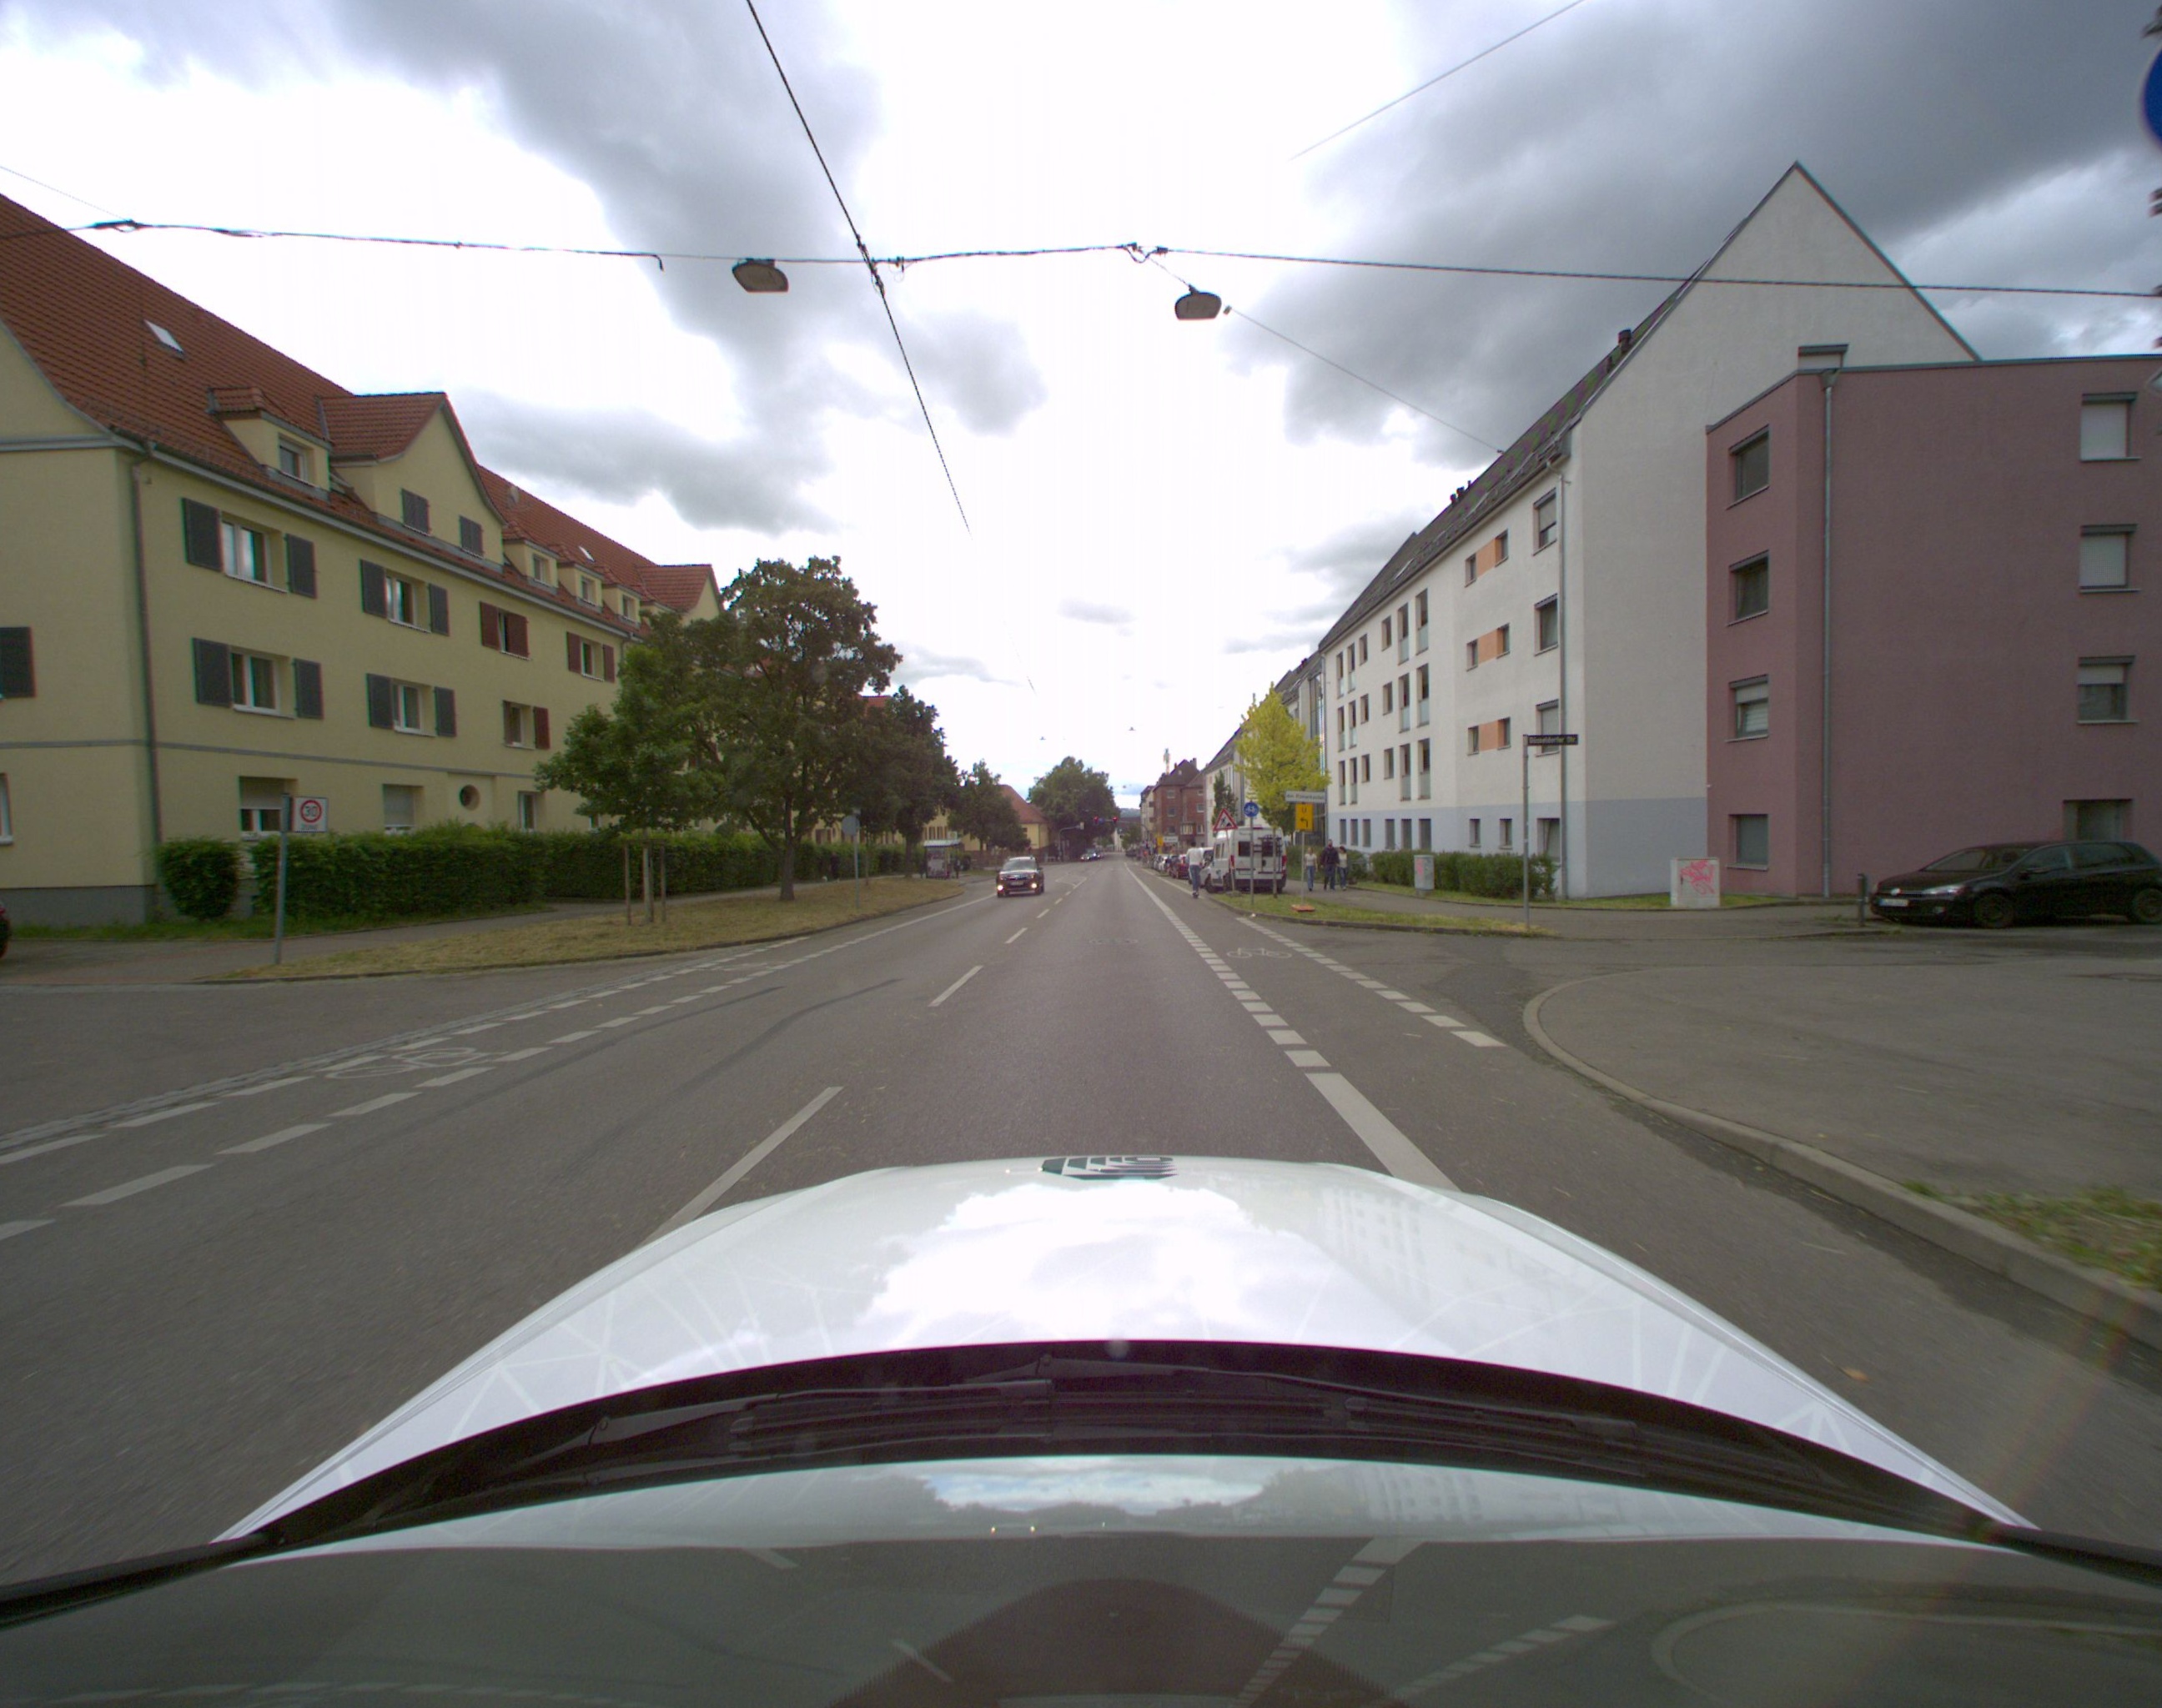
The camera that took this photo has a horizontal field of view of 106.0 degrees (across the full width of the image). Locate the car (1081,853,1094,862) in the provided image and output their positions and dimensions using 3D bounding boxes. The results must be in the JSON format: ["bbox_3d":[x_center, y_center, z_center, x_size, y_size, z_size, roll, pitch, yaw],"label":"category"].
[{"bbox_3d":[1.110,0.642,139.486,1.747,1.472,4.313,-2,0,5],"label":"car"}]

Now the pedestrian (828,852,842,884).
[{"bbox_3d":[-13.926,0.776,46.088,0.511,1.779,0.753,-1,0,2],"label":"pedestrian"}]

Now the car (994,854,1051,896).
[{"bbox_3d":[-2.424,0.847,34.800,1.891,1.620,4.365,-1,0,3],"label":"car"}]

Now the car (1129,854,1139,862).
[{"bbox_3d":[12.871,0.871,197.982,1.987,1.935,4.917,-1,0,0],"label":"car"}]

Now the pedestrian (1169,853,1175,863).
[{"bbox_3d":[14.623,0.613,130.932,0.785,1.656,0.773,-3,0,2],"label":"pedestrian"}]

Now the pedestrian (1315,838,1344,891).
[{"bbox_3d":[8.954,0.378,29.393,0.670,1.887,0.763,-2,-2,-10],"label":"pedestrian"}]

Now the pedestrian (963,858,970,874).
[{"bbox_3d":[-12.353,1.285,87.791,0.638,1.619,0.618,-1,0,1],"label":"pedestrian"}]

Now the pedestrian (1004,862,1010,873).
[{"bbox_3d":[-9.993,1.829,110.259,0.560,1.566,0.844,-1,0,7],"label":"pedestrian"}]

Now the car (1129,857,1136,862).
[{"bbox_3d":[13.927,1.492,221.445,1.663,1.547,3.755,-1,0,0],"label":"car"}]

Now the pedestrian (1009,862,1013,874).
[{"bbox_3d":[-9.989,1.986,116.251,0.561,1.777,0.842,-1,0,2],"label":"pedestrian"}]

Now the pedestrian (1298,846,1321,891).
[{"bbox_3d":[8.477,0.550,30.227,0.577,1.644,0.559,-2,-2,-12],"label":"pedestrian"}]

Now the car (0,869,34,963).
[{"bbox_3d":[-19.872,1.101,13.062,3.890,1.529,1.692,-1,3,1],"label":"car"}]

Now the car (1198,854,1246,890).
[{"bbox_3d":[6.184,0.760,36.043,1.520,1.486,3.726,0,0,1],"label":"car"}]

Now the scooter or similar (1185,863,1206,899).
[{"bbox_3d":[4.030,0.933,28.715,0.489,1.163,2.075,-1,0,2],"label":"scooter or similar"}]

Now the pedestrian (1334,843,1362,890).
[{"bbox_3d":[9.693,0.454,29.549,0.656,1.605,0.574,-5,0,-7],"label":"pedestrian"}]

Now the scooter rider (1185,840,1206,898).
[{"bbox_3d":[4.044,0.513,28.761,0.623,2.013,0.758,-1,0,1],"label":"scooter rider"}]

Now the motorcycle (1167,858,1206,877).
[{"bbox_3d":[7.225,0.921,55.867,2.591,1.279,0.752,-1,0,-2],"label":"motorcycle"}]

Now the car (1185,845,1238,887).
[{"bbox_3d":[6.542,0.585,41.279,1.986,1.944,5.213,-1,0,2],"label":"car"}]

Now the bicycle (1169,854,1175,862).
[{"bbox_3d":[14.688,0.639,131.796,0.757,1.193,2.393,-1,0,2],"label":"bicycle"}]

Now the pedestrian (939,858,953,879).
[{"bbox_3d":[-9.960,1.080,60.144,0.896,1.509,0.807,0,0,3],"label":"pedestrian"}]

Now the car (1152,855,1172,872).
[{"bbox_3d":[8.404,0.984,84.593,1.653,1.716,4.552,0,0,1],"label":"car"}]

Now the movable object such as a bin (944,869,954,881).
[{"bbox_3d":[-9.715,1.524,59.887,0.534,0.845,0.665,0,0,3],"label":"movable object such as a bin"}]

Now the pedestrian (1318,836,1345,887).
[{"bbox_3d":[9.445,0.279,30.756,0.671,1.887,0.617,-2,-2,-15],"label":"pedestrian"}]

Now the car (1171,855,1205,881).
[{"bbox_3d":[6.864,0.872,52.715,1.675,1.544,4.340,-1,0,1],"label":"car"}]

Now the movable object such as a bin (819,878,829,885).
[{"bbox_3d":[-14.637,1.563,46.406,0.304,0.347,0.582,-1,0,8],"label":"movable object such as a bin"}]

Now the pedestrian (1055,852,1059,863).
[{"bbox_3d":[-4.060,0.627,138.213,0.670,1.765,0.727,-1,-1,6],"label":"pedestrian"}]

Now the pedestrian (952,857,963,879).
[{"bbox_3d":[-9.442,1.063,62.292,0.594,1.727,0.862,-1,-1,5],"label":"pedestrian"}]

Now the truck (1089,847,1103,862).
[{"bbox_3d":[2.679,0.085,148.119,2.288,2.427,6.410,-2,0,0],"label":"truck"}]

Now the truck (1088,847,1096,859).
[{"bbox_3d":[3.205,-0.381,234.538,2.222,3.346,7.452,-1,0,2],"label":"truck"}]

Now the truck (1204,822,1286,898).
[{"bbox_3d":[6.083,0.209,30.882,2.045,2.565,5.691,-1,0,1],"label":"truck"}]

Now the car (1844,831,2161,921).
[{"bbox_3d":[16.515,0.370,14.575,3.970,1.456,1.761,-1,0,3],"label":"car"}]
